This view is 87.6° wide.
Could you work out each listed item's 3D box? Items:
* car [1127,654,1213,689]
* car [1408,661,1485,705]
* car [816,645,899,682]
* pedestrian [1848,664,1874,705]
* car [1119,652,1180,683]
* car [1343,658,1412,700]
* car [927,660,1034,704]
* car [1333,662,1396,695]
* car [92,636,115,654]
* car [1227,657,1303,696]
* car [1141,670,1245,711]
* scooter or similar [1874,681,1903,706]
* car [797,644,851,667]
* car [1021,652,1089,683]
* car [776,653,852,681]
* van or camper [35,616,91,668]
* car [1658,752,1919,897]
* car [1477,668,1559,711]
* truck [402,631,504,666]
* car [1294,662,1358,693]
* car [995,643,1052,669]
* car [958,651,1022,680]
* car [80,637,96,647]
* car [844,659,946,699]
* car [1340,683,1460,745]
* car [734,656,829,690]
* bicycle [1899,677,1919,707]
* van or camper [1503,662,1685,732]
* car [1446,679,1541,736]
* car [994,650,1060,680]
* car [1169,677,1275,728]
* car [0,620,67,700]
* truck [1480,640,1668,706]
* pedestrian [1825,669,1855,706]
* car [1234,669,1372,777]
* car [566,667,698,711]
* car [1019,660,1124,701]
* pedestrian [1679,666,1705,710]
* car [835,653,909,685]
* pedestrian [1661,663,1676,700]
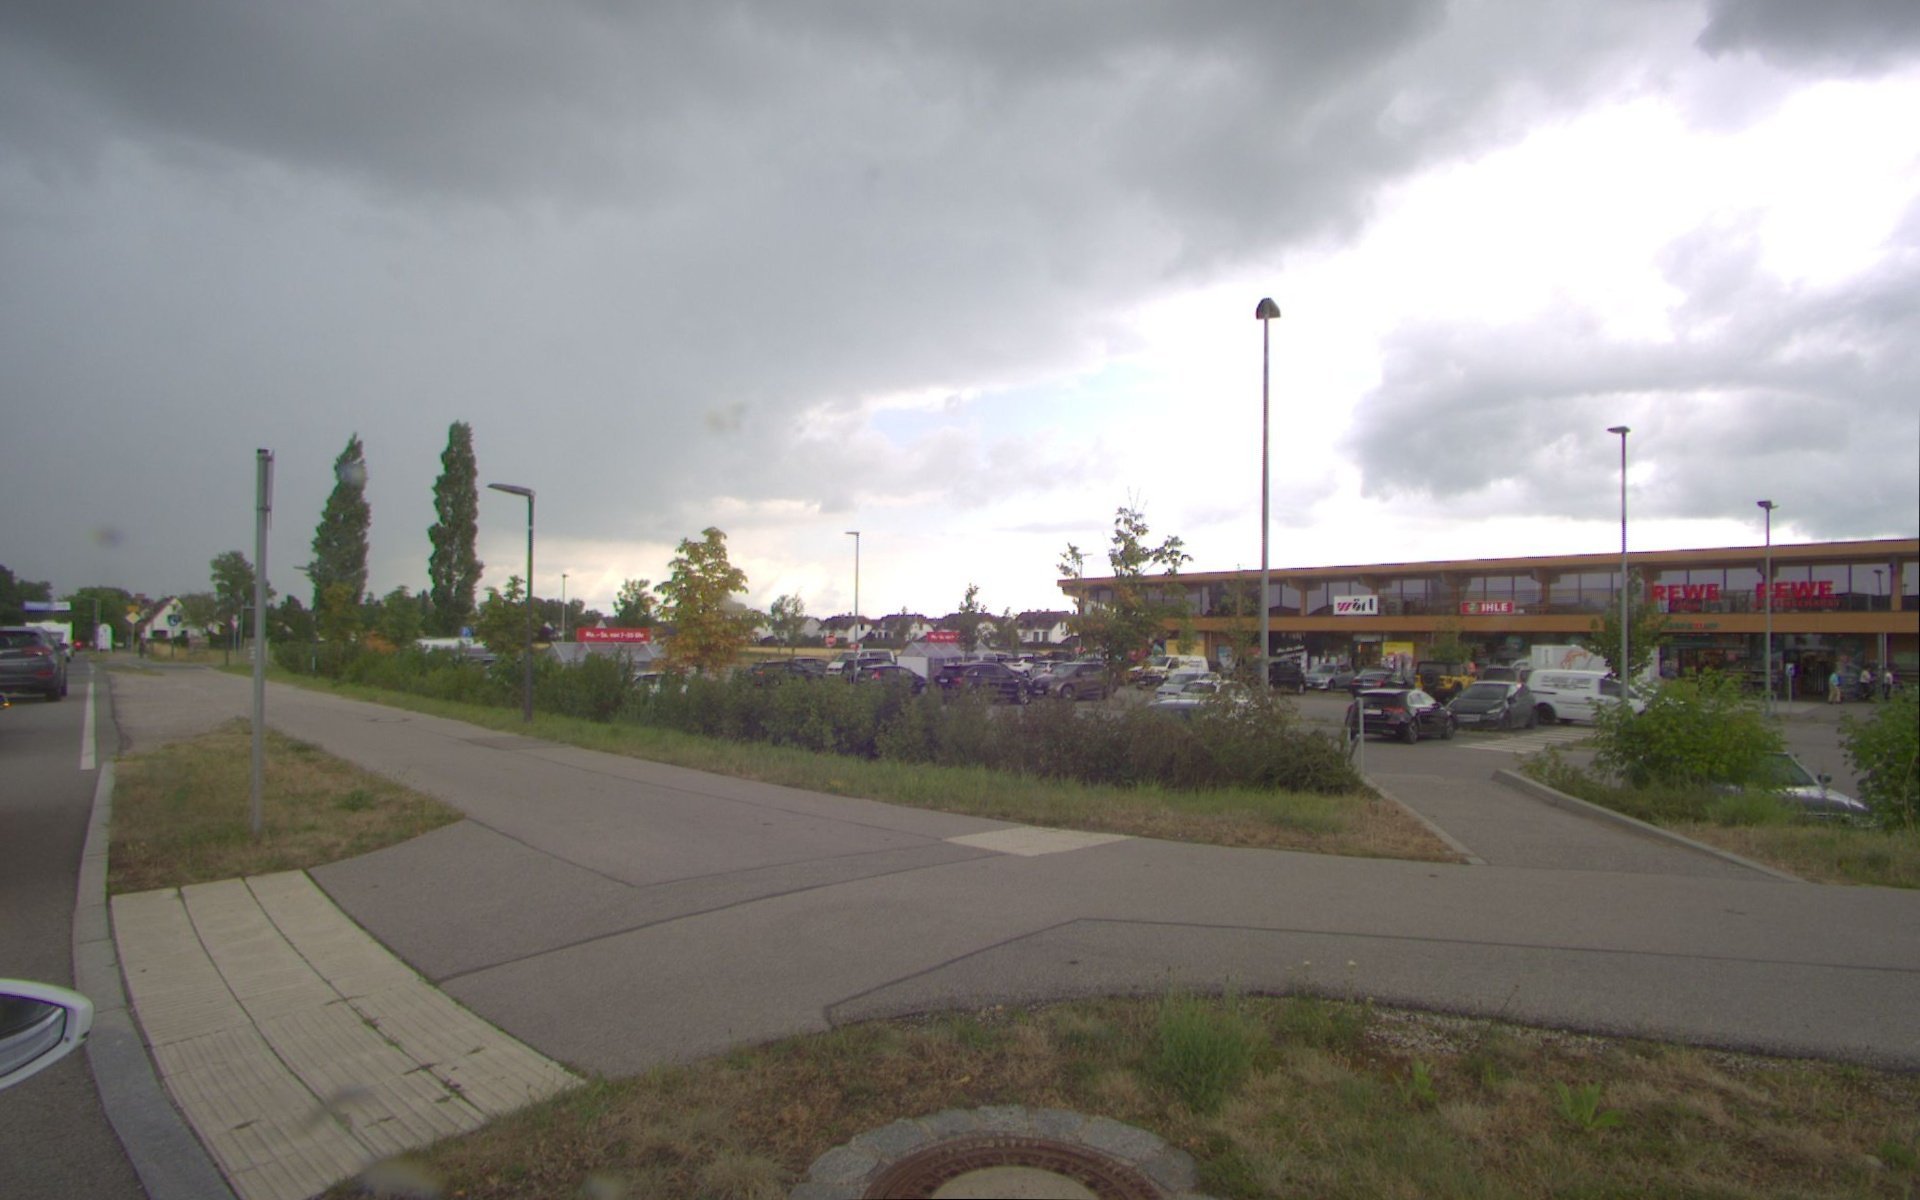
[{"bbox_3d":[11.754,3.958,55.749,5.250,1.853,1.983,4,-4,-42],"label":"car"},{"bbox_3d":[22.096,3.722,45.426,3.960,1.877,1.757,3,-4,-42],"label":"car"},{"bbox_3d":[-6.070,3.780,60.006,1.975,2.039,5.090,0,-2,38],"label":"car"},{"bbox_3d":[43.480,4.064,48.327,0.918,1.921,0.788,-1,-5,42],"label":"pedestrian"},{"bbox_3d":[12.250,4.351,64.503,4.076,1.917,1.781,4,-4,-43],"label":"car"},{"bbox_3d":[19.943,3.740,47.764,1.754,1.878,3.965,-1,-3,44],"label":"car"},{"bbox_3d":[0.890,3.377,41.441,4.421,1.727,1.788,4,-4,-42],"label":"car"},{"bbox_3d":[21.770,4.191,53.842,3.858,1.674,1.751,4,-4,-44],"label":"car"},{"bbox_3d":[-80.070,4.237,93.618,1.601,1.651,3.586,3,-3,-40],"label":"car"},{"bbox_3d":[15.823,3.968,51.900,3.962,1.859,1.983,6,-5,-42],"label":"car"},{"bbox_3d":[9.697,3.695,41.488,4.741,1.503,1.887,3,-3,-42],"label":"car"},{"bbox_3d":[44.183,4.430,47.654,0.992,1.140,0.788,-1,-5,42],"label":"scooter or similar"},{"bbox_3d":[-11.235,4.610,83.014,3.954,1.860,1.985,3,-3,-38],"label":"car"},{"bbox_3d":[5.978,4.207,62.843,3.956,1.860,1.985,3,-4,-39],"label":"car"},{"bbox_3d":[-8.836,4.070,60.875,4.280,1.597,1.753,3,-3,-40],"label":"car"},{"bbox_3d":[-61.321,2.912,68.526,2.607,3.364,6.763,3,-4,-41],"label":"van or camper"},{"bbox_3d":[11.680,3.042,14.191,1.551,1.389,3.733,0,-3,11],"label":"car"},{"bbox_3d":[23.805,3.774,42.668,4.080,1.746,1.836,4,-5,-43],"label":"car"},{"bbox_3d":[-28.934,2.804,57.252,1.980,1.895,4.770,-2,-4,44],"label":"truck"},{"bbox_3d":[20.288,4.259,55.408,1.750,1.632,4.188,-2,-4,45],"label":"car"},{"bbox_3d":[4.697,4.115,73.963,3.954,1.863,1.861,2,-3,-38],"label":"car"},{"bbox_3d":[2.037,4.341,66.876,3.955,1.860,1.985,3,-3,-38],"label":"car"},{"bbox_3d":[-120.477,5.839,138.375,1.601,1.288,3.432,3,-3,-40],"label":"car"},{"bbox_3d":[-2.957,3.599,46.153,4.373,1.685,1.983,3,-3,-42],"label":"car"},{"bbox_3d":[12.323,3.116,27.935,1.817,1.415,3.965,-1,-3,44],"label":"car"},{"bbox_3d":[-9.279,3.773,52.371,4.525,1.685,1.983,3,-3,-42],"label":"car"},{"bbox_3d":[44.686,4.222,45.536,0.970,1.325,2.844,2,-3,-42],"label":"bicycle"},{"bbox_3d":[20.786,3.147,33.025,1.746,2.123,4.770,5,-5,-38],"label":"van or camper"},{"bbox_3d":[17.005,3.354,31.857,1.713,1.572,3.967,-1,-3,43],"label":"car"},{"bbox_3d":[4.354,4.185,64.858,3.954,1.861,1.985,2,-3,-38],"label":"car"},{"bbox_3d":[8.618,3.311,32.771,1.665,1.503,3.962,-2,-4,44],"label":"car"},{"bbox_3d":[-20.937,1.282,22.091,1.764,1.638,3.965,3,-3,-41],"label":"car"},{"bbox_3d":[29.003,3.356,47.498,7.183,2.842,2.951,-2,-3,44],"label":"truck"},{"bbox_3d":[41.089,4.062,46.746,0.739,1.678,0.802,1,-2,-26],"label":"pedestrian"},{"bbox_3d":[4.646,1.640,13.961,1.550,1.221,3.756,1,-4,15],"label":"car"},{"bbox_3d":[-12.013,3.228,36.831,4.203,1.458,1.983,3,-3,-41],"label":"car"},{"bbox_3d":[5.104,3.587,45.369,4.940,1.685,1.982,3,-3,-42],"label":"car"},{"bbox_3d":[34.929,4.193,47.792,0.922,2.039,0.799,-1,-2,42],"label":"pedestrian"},{"bbox_3d":[-4.921,3.881,56.450,3.960,1.727,1.701,3,-4,-42],"label":"car"},{"bbox_3d":[38.026,4.369,53.741,0.573,1.973,0.520,-1,-2,45],"label":"pedestrian"}]
